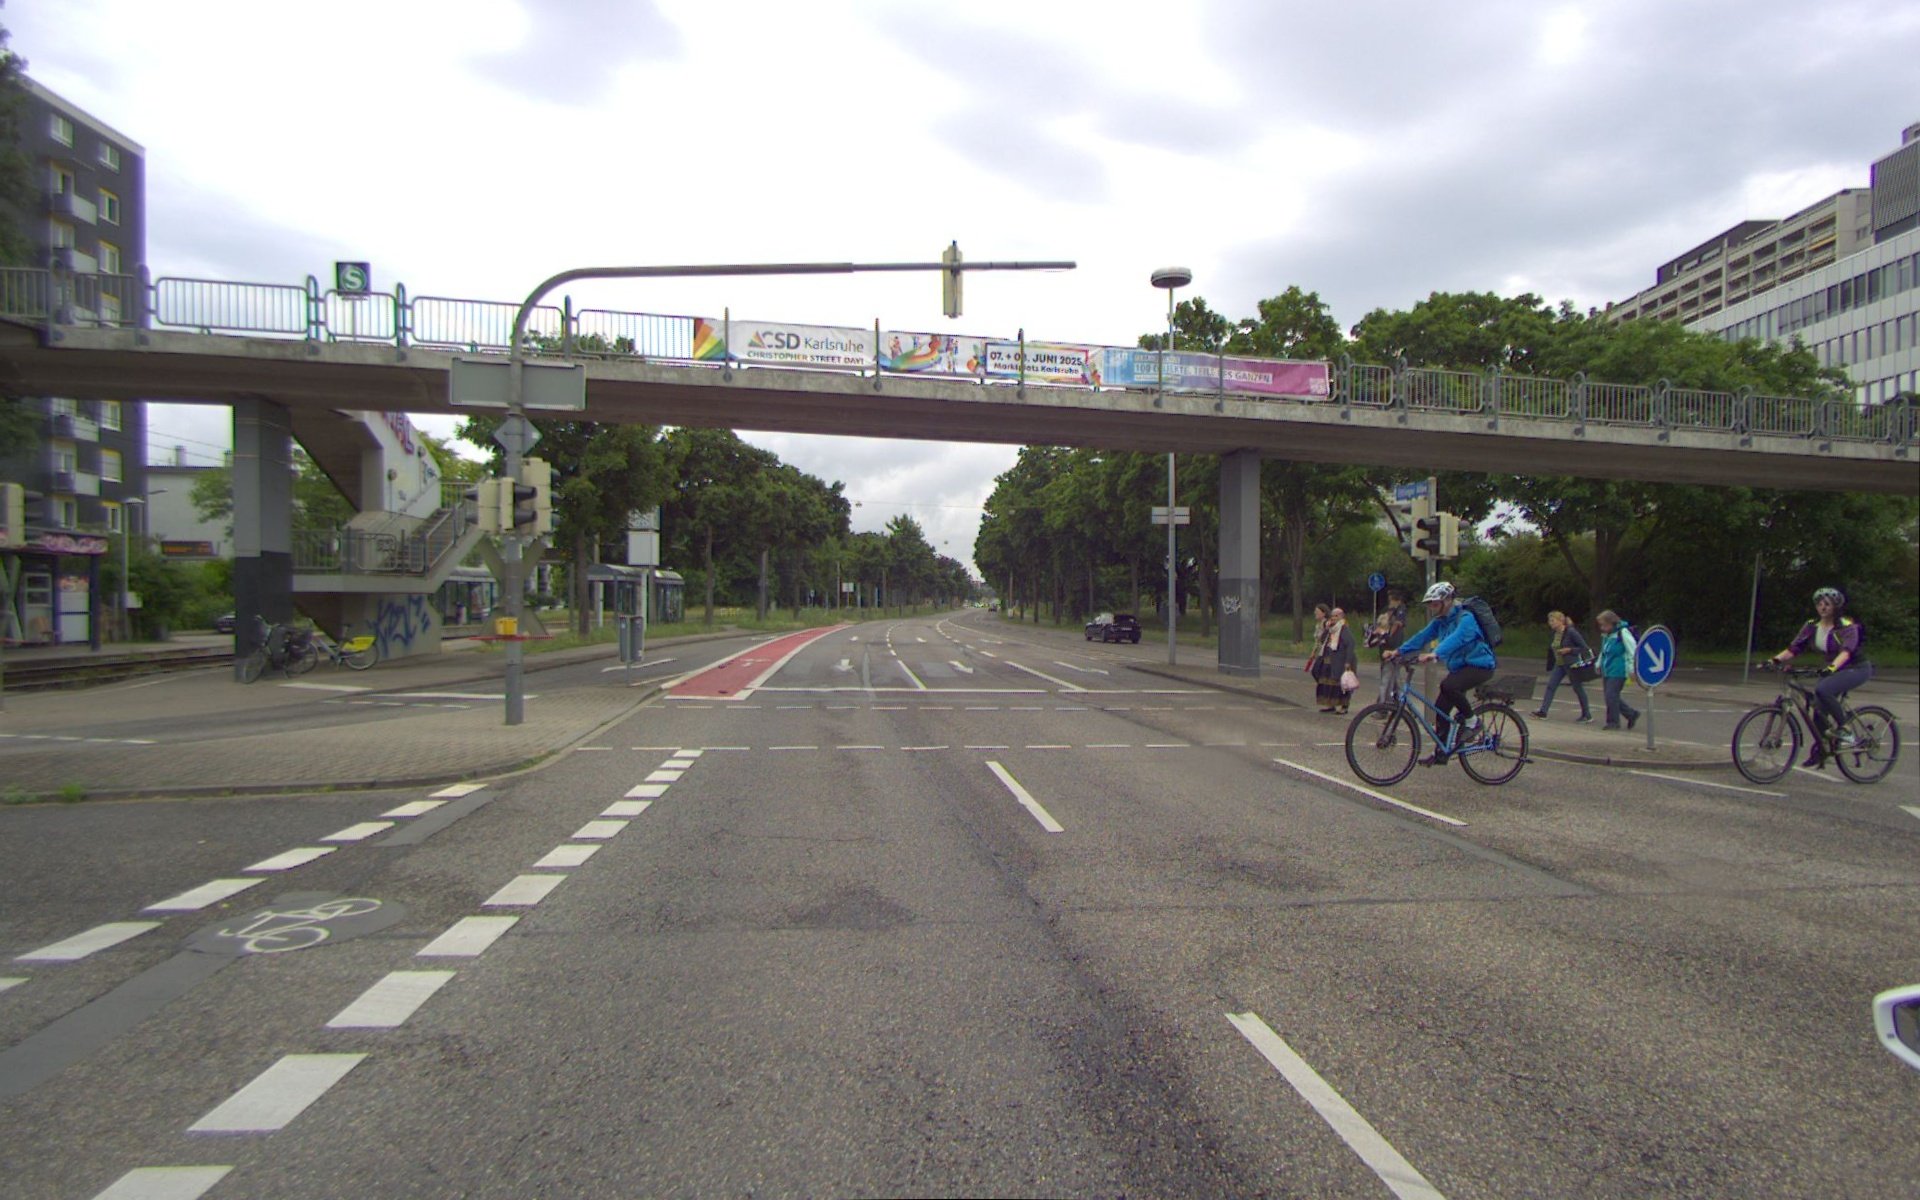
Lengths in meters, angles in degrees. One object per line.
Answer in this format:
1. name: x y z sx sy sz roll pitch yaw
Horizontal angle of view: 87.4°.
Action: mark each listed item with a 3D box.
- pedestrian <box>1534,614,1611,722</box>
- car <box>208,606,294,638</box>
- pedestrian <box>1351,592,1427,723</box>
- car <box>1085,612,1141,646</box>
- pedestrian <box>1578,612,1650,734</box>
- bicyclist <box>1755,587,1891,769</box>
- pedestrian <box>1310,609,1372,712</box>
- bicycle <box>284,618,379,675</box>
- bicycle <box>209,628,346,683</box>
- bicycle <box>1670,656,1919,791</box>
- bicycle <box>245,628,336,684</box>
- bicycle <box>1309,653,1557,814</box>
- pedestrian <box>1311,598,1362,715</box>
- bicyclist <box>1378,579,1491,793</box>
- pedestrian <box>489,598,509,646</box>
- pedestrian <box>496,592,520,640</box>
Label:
1. pedestrian: 9.010 0.972 14.802 0.398 1.531 0.915 0 0 -23
2. car: -35.899 1.098 51.005 1.636 1.581 3.999 0 0 -2
3. pedestrian: 6.186 0.800 14.484 0.790 1.828 0.636 0 0 -21
4. car: 7.476 1.392 49.521 1.641 1.528 4.393 -1 0 -7
5. pedestrian: 9.007 0.985 13.843 0.480 1.626 0.687 0 0 -17
6. bicyclist: 8.006 0.699 9.341 0.683 1.616 0.679 1 0 -13
7. pedestrian: 6.101 0.939 16.071 0.772 1.600 0.576 0 0 -31
8. bicycle: -12.698 0.927 20.313 1.602 1.109 0.347 0 0 -39
9. bicycle: -12.599 0.998 18.662 0.546 0.900 2.408 0 0 11
10. bicycle: 7.819 1.104 9.307 2.225 1.116 0.727 0 0 -13
11. bicycle: -12.510 1.022 18.833 0.367 0.934 2.037 0 0 -1
12. bicycle: 4.129 1.128 8.782 2.074 1.284 0.543 0 0 -13
13. pedestrian: 5.666 0.832 15.138 0.400 1.714 0.616 0 0 -26
14. bicyclist: 4.143 0.723 8.798 0.635 1.792 0.645 0 0 -11
15. pedestrian: -15.326 0.713 33.400 0.550 1.585 0.334 0 0 -12
16. pedestrian: -15.899 0.569 35.340 0.591 1.664 0.663 0 0 -8
